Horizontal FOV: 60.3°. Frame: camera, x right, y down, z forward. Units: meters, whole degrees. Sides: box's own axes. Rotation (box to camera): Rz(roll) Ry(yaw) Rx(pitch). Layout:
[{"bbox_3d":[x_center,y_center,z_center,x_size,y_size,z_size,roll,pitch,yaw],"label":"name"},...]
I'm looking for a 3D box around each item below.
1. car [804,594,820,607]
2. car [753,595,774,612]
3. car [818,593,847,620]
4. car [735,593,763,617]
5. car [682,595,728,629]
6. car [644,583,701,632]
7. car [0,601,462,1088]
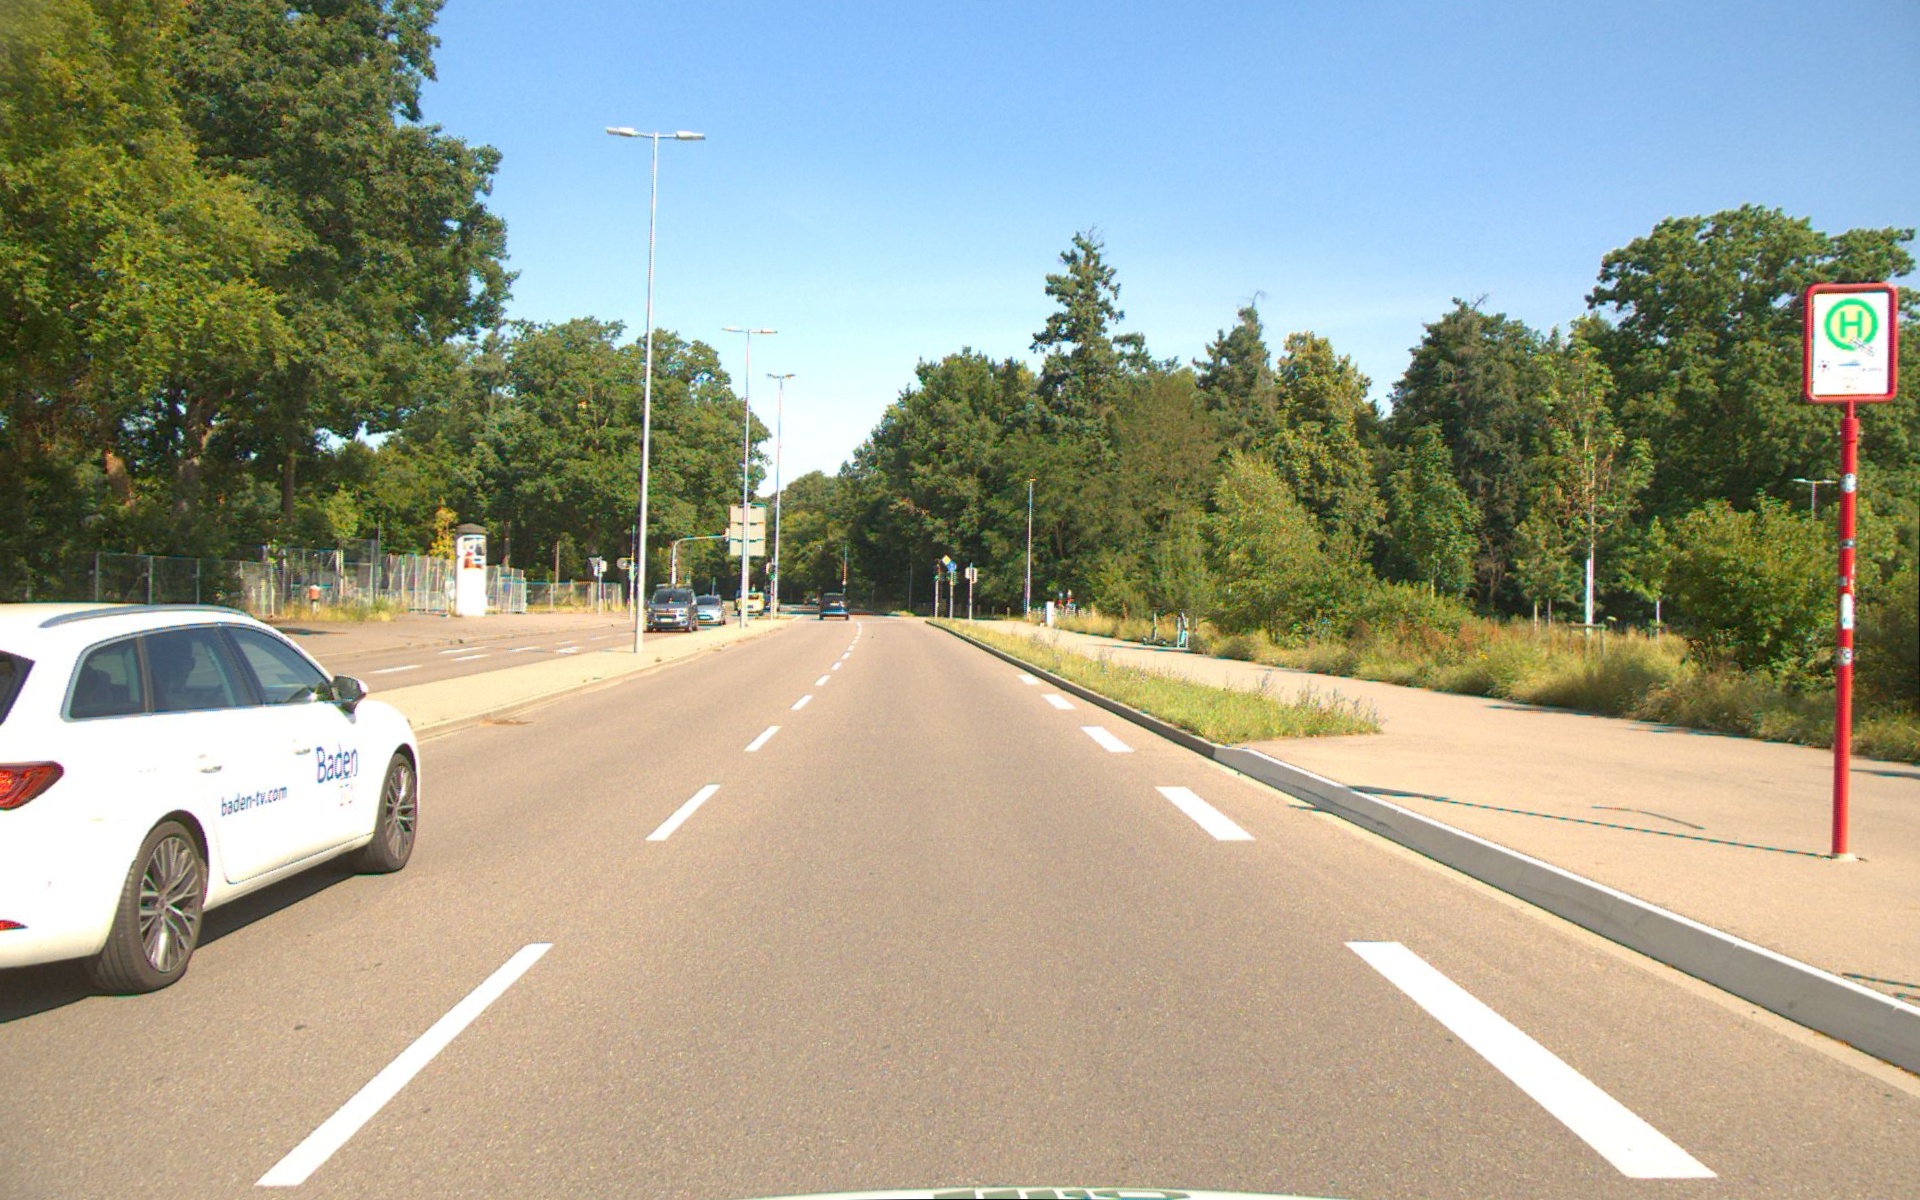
[{"bbox_3d":[-18.290,0.053,204.379,1.903,1.445,4.287,1,0,-6],"label":"car"},{"bbox_3d":[-17.462,0.298,146.914,1.784,1.489,3.994,2,0,-6],"label":"car"},{"bbox_3d":[-7.662,0.395,99.657,1.654,1.571,4.146,0,0,-3],"label":"car"},{"bbox_3d":[-15.224,0.353,119.342,1.810,1.646,3.996,2,0,-5],"label":"car"},{"bbox_3d":[-12.664,0.575,82.199,1.871,1.612,3.997,2,0,-4],"label":"car"},{"bbox_3d":[-11.839,0.294,68.380,1.805,1.966,4.626,0,0,-4],"label":"car"},{"bbox_3d":[-3.788,0.751,7.417,1.690,1.451,4.720,0,0,0],"label":"car"}]
